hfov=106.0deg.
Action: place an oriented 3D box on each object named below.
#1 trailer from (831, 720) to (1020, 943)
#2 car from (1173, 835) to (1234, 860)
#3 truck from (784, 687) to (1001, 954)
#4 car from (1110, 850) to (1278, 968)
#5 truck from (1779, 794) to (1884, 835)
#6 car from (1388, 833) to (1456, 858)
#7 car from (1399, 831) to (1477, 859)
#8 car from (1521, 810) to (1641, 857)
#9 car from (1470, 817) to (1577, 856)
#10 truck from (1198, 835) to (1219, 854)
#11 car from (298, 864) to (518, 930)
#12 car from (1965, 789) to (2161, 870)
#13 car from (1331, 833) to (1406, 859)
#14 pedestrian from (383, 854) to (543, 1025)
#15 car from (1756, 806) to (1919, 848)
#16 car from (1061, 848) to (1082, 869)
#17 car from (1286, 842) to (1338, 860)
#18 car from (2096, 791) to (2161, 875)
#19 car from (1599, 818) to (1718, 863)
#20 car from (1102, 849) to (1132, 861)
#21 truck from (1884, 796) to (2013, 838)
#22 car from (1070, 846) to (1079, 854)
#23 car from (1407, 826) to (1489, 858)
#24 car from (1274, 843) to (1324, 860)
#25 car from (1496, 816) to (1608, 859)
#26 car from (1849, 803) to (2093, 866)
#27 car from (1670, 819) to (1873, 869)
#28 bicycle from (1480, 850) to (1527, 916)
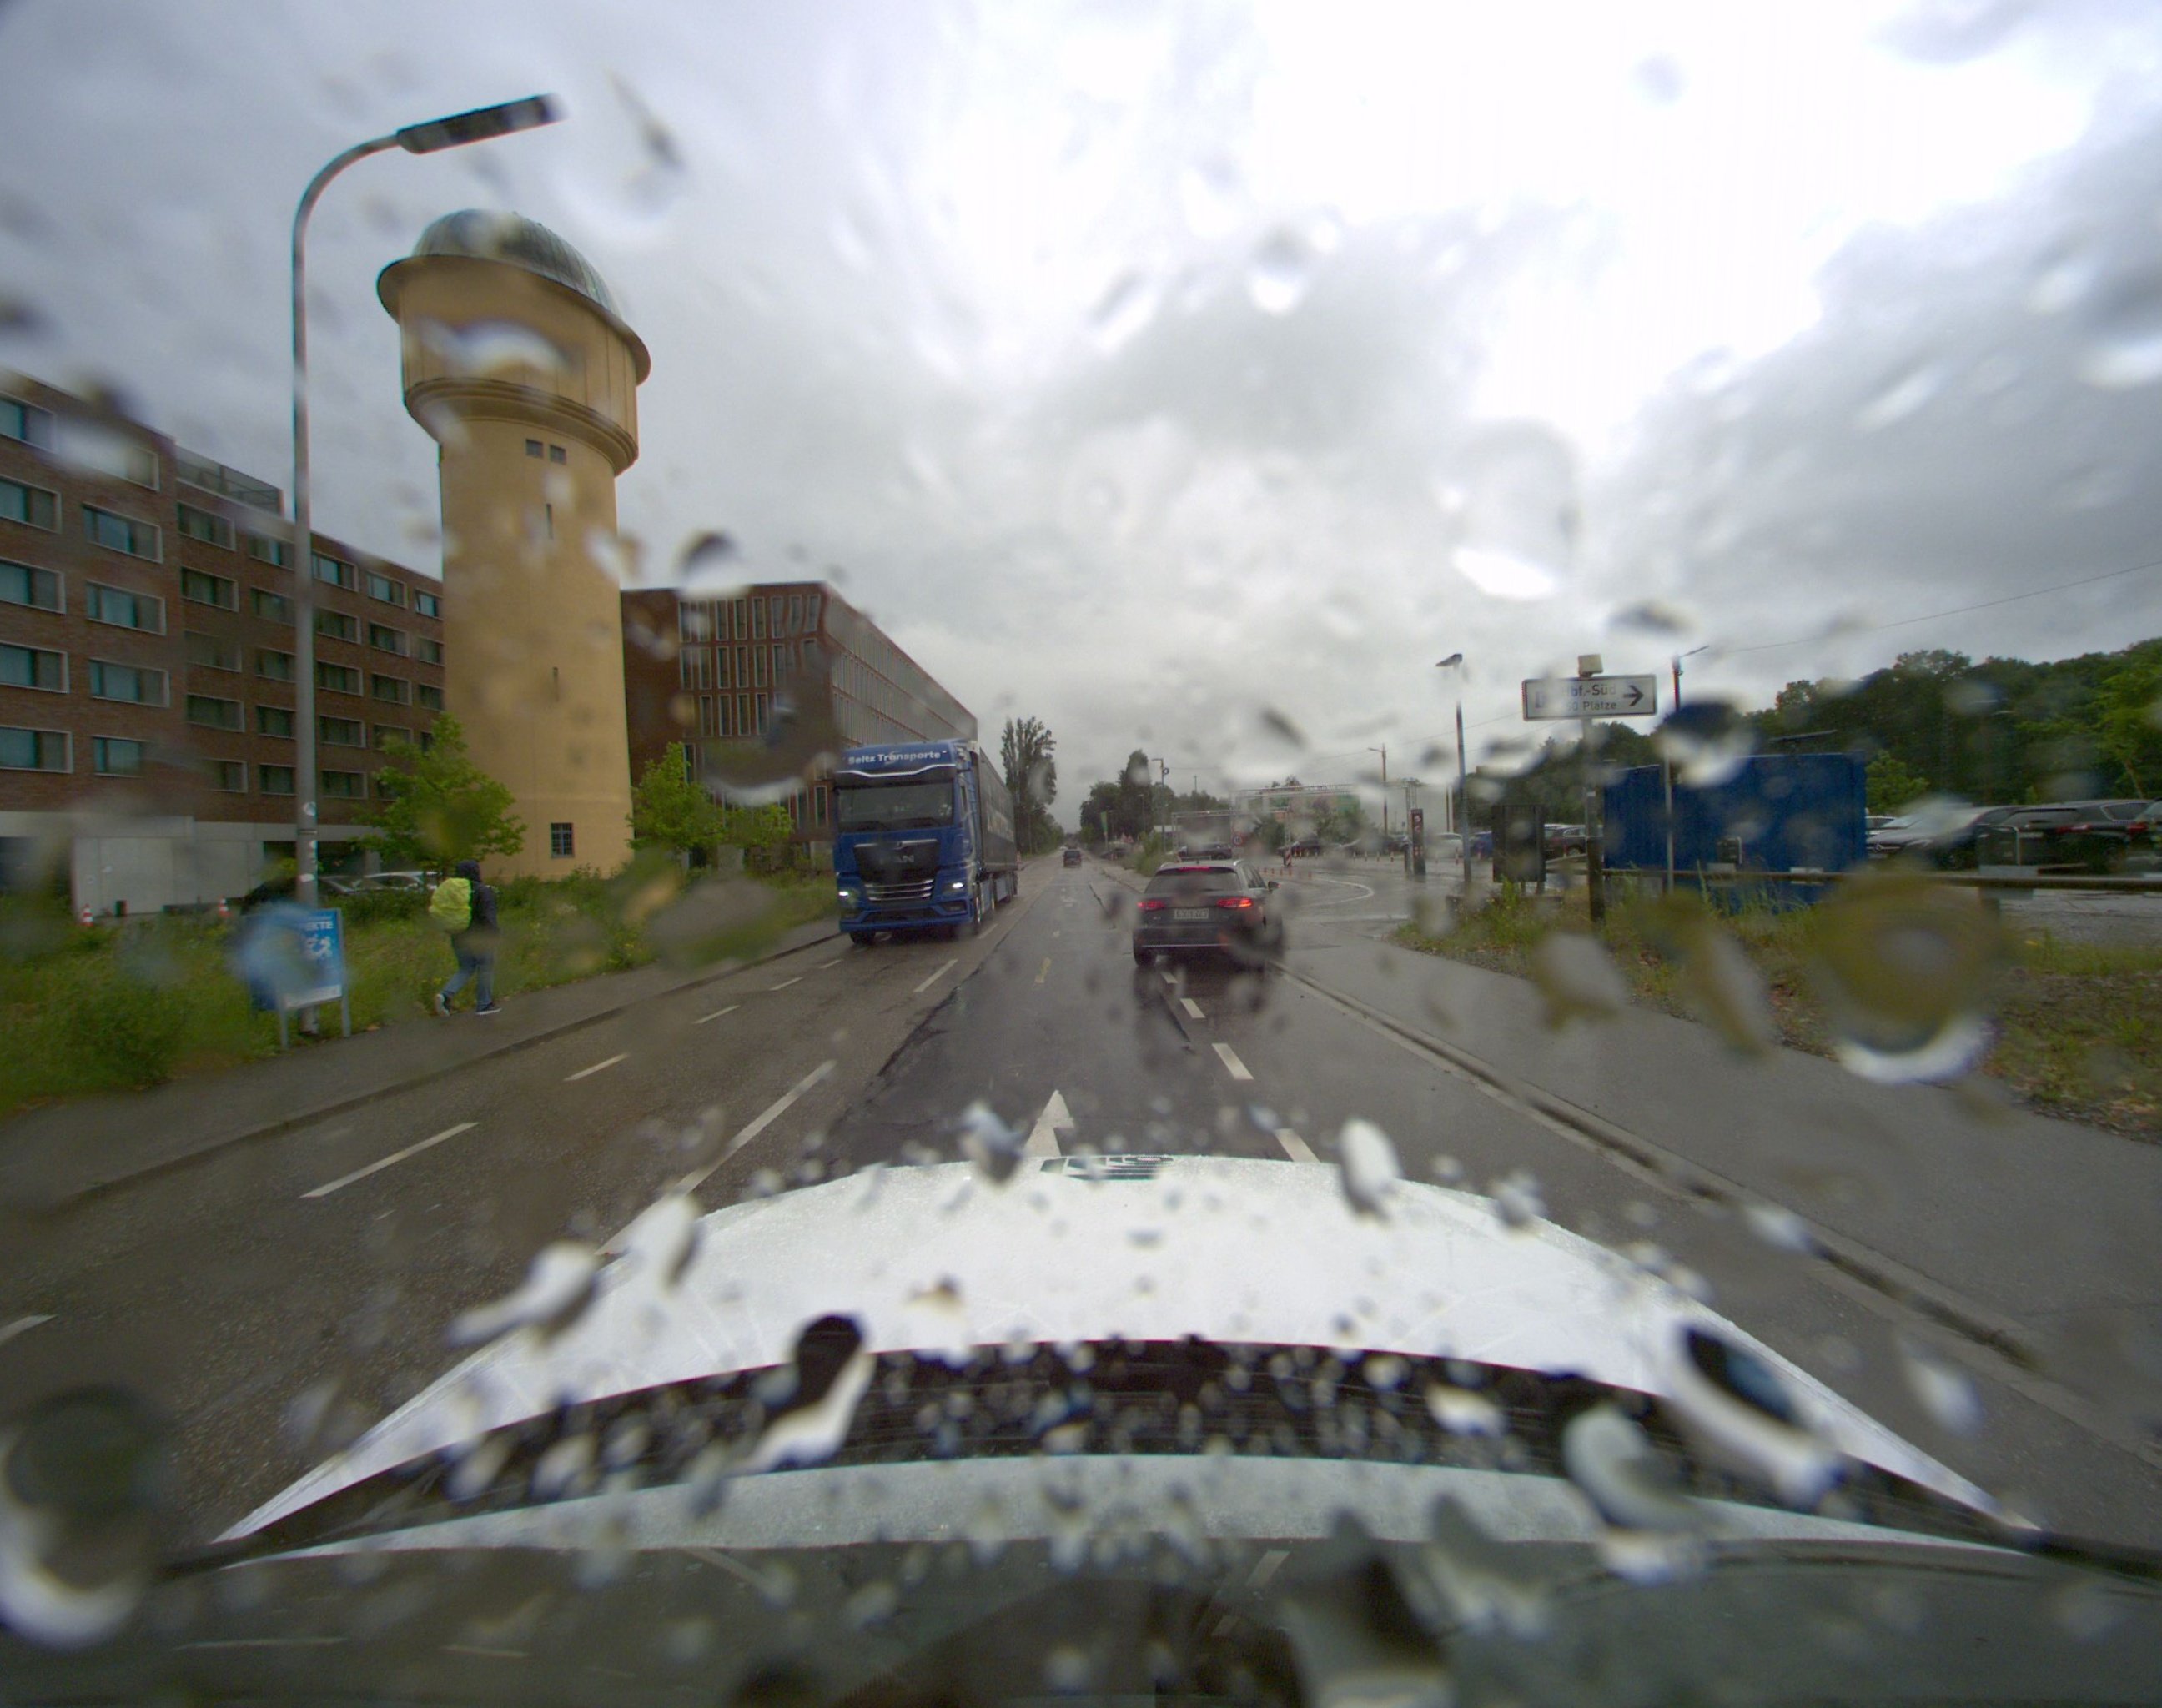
[{"bbox_3d":[-3.840,-0.483,24.339,3.285,4.653,13.722,-2,0,-2],"label":"trailer"},{"bbox_3d":[9.860,-0.487,65.725,4.661,1.735,2.130,-3,-1,3],"label":"car"},{"bbox_3d":[-3.664,-0.607,17.590,3.286,4.653,6.028,-2,0,-2],"label":"truck"},{"bbox_3d":[1.901,0.685,12.395,1.880,1.456,4.245,-1,0,17],"label":"car"},{"bbox_3d":[48.689,-2.502,52.985,2.066,2.401,5.082,-3,0,-1],"label":"truck"},{"bbox_3d":[26.770,-0.682,63.991,4.429,1.605,2.042,-4,-1,-2],"label":"car"},{"bbox_3d":[25.788,-0.634,58.945,4.689,1.605,2.042,-4,-1,-2],"label":"car"},{"bbox_3d":[20.574,-0.821,33.634,3.760,1.584,1.787,-4,-1,2],"label":"car"},{"bbox_3d":[21.145,-0.831,39.049,4.029,1.484,1.929,-4,-1,2],"label":"car"},{"bbox_3d":[19.280,-1.373,123.308,2.292,2.659,7.421,-3,0,3],"label":"truck"},{"bbox_3d":[-19.229,1.180,23.452,4.512,1.641,1.997,-2,0,-4],"label":"car"},{"bbox_3d":[21.551,-0.524,17.061,3.938,1.490,1.870,-3,-1,1],"label":"car"},{"bbox_3d":[20.502,-0.549,58.227,4.614,1.716,2.014,-1,-1,-7],"label":"car"},{"bbox_3d":[-6.673,0.882,8.859,0.906,1.718,1.026,-2,-1,-1],"label":"pedestrian"},{"bbox_3d":[26.230,-0.913,28.321,4.051,1.072,1.830,-4,-1,-3],"label":"car"},{"bbox_3d":[-1.003,0.461,81.800,1.988,1.910,4.198,-2,0,-1],"label":"car"},{"bbox_3d":[19.889,-0.245,70.271,3.974,1.485,2.000,-1,-1,0],"label":"car"},{"bbox_3d":[21.156,-0.491,14.406,3.938,1.490,1.870,-3,-1,1],"label":"car"},{"bbox_3d":[26.213,-0.591,37.049,4.051,1.659,1.830,-4,-1,-3],"label":"car"},{"bbox_3d":[5.092,0.153,114.609,4.120,1.569,1.766,-2,0,1],"label":"car"},{"bbox_3d":[48.754,-2.026,45.980,2.063,2.138,5.090,-3,0,4],"label":"truck"},{"bbox_3d":[-1.473,-0.872,185.932,1.723,1.687,3.899,-2,0,2],"label":"car"},{"bbox_3d":[21.117,-0.686,46.980,3.815,1.484,1.929,-4,-1,2],"label":"car"},{"bbox_3d":[19.553,-0.199,73.128,3.974,1.409,2.000,-1,-1,0],"label":"car"},{"bbox_3d":[21.048,-0.709,36.519,3.888,1.584,1.787,-4,-1,2],"label":"car"},{"bbox_3d":[21.364,-0.429,19.685,3.870,1.221,1.649,-4,-1,4],"label":"car"},{"bbox_3d":[21.081,-0.281,24.984,4.575,1.221,1.977,-3,-1,-2],"label":"car"},{"bbox_3d":[7.594,0.490,14.685,0.502,1.084,1.711,-3,0,20],"label":"bicycle"}]
